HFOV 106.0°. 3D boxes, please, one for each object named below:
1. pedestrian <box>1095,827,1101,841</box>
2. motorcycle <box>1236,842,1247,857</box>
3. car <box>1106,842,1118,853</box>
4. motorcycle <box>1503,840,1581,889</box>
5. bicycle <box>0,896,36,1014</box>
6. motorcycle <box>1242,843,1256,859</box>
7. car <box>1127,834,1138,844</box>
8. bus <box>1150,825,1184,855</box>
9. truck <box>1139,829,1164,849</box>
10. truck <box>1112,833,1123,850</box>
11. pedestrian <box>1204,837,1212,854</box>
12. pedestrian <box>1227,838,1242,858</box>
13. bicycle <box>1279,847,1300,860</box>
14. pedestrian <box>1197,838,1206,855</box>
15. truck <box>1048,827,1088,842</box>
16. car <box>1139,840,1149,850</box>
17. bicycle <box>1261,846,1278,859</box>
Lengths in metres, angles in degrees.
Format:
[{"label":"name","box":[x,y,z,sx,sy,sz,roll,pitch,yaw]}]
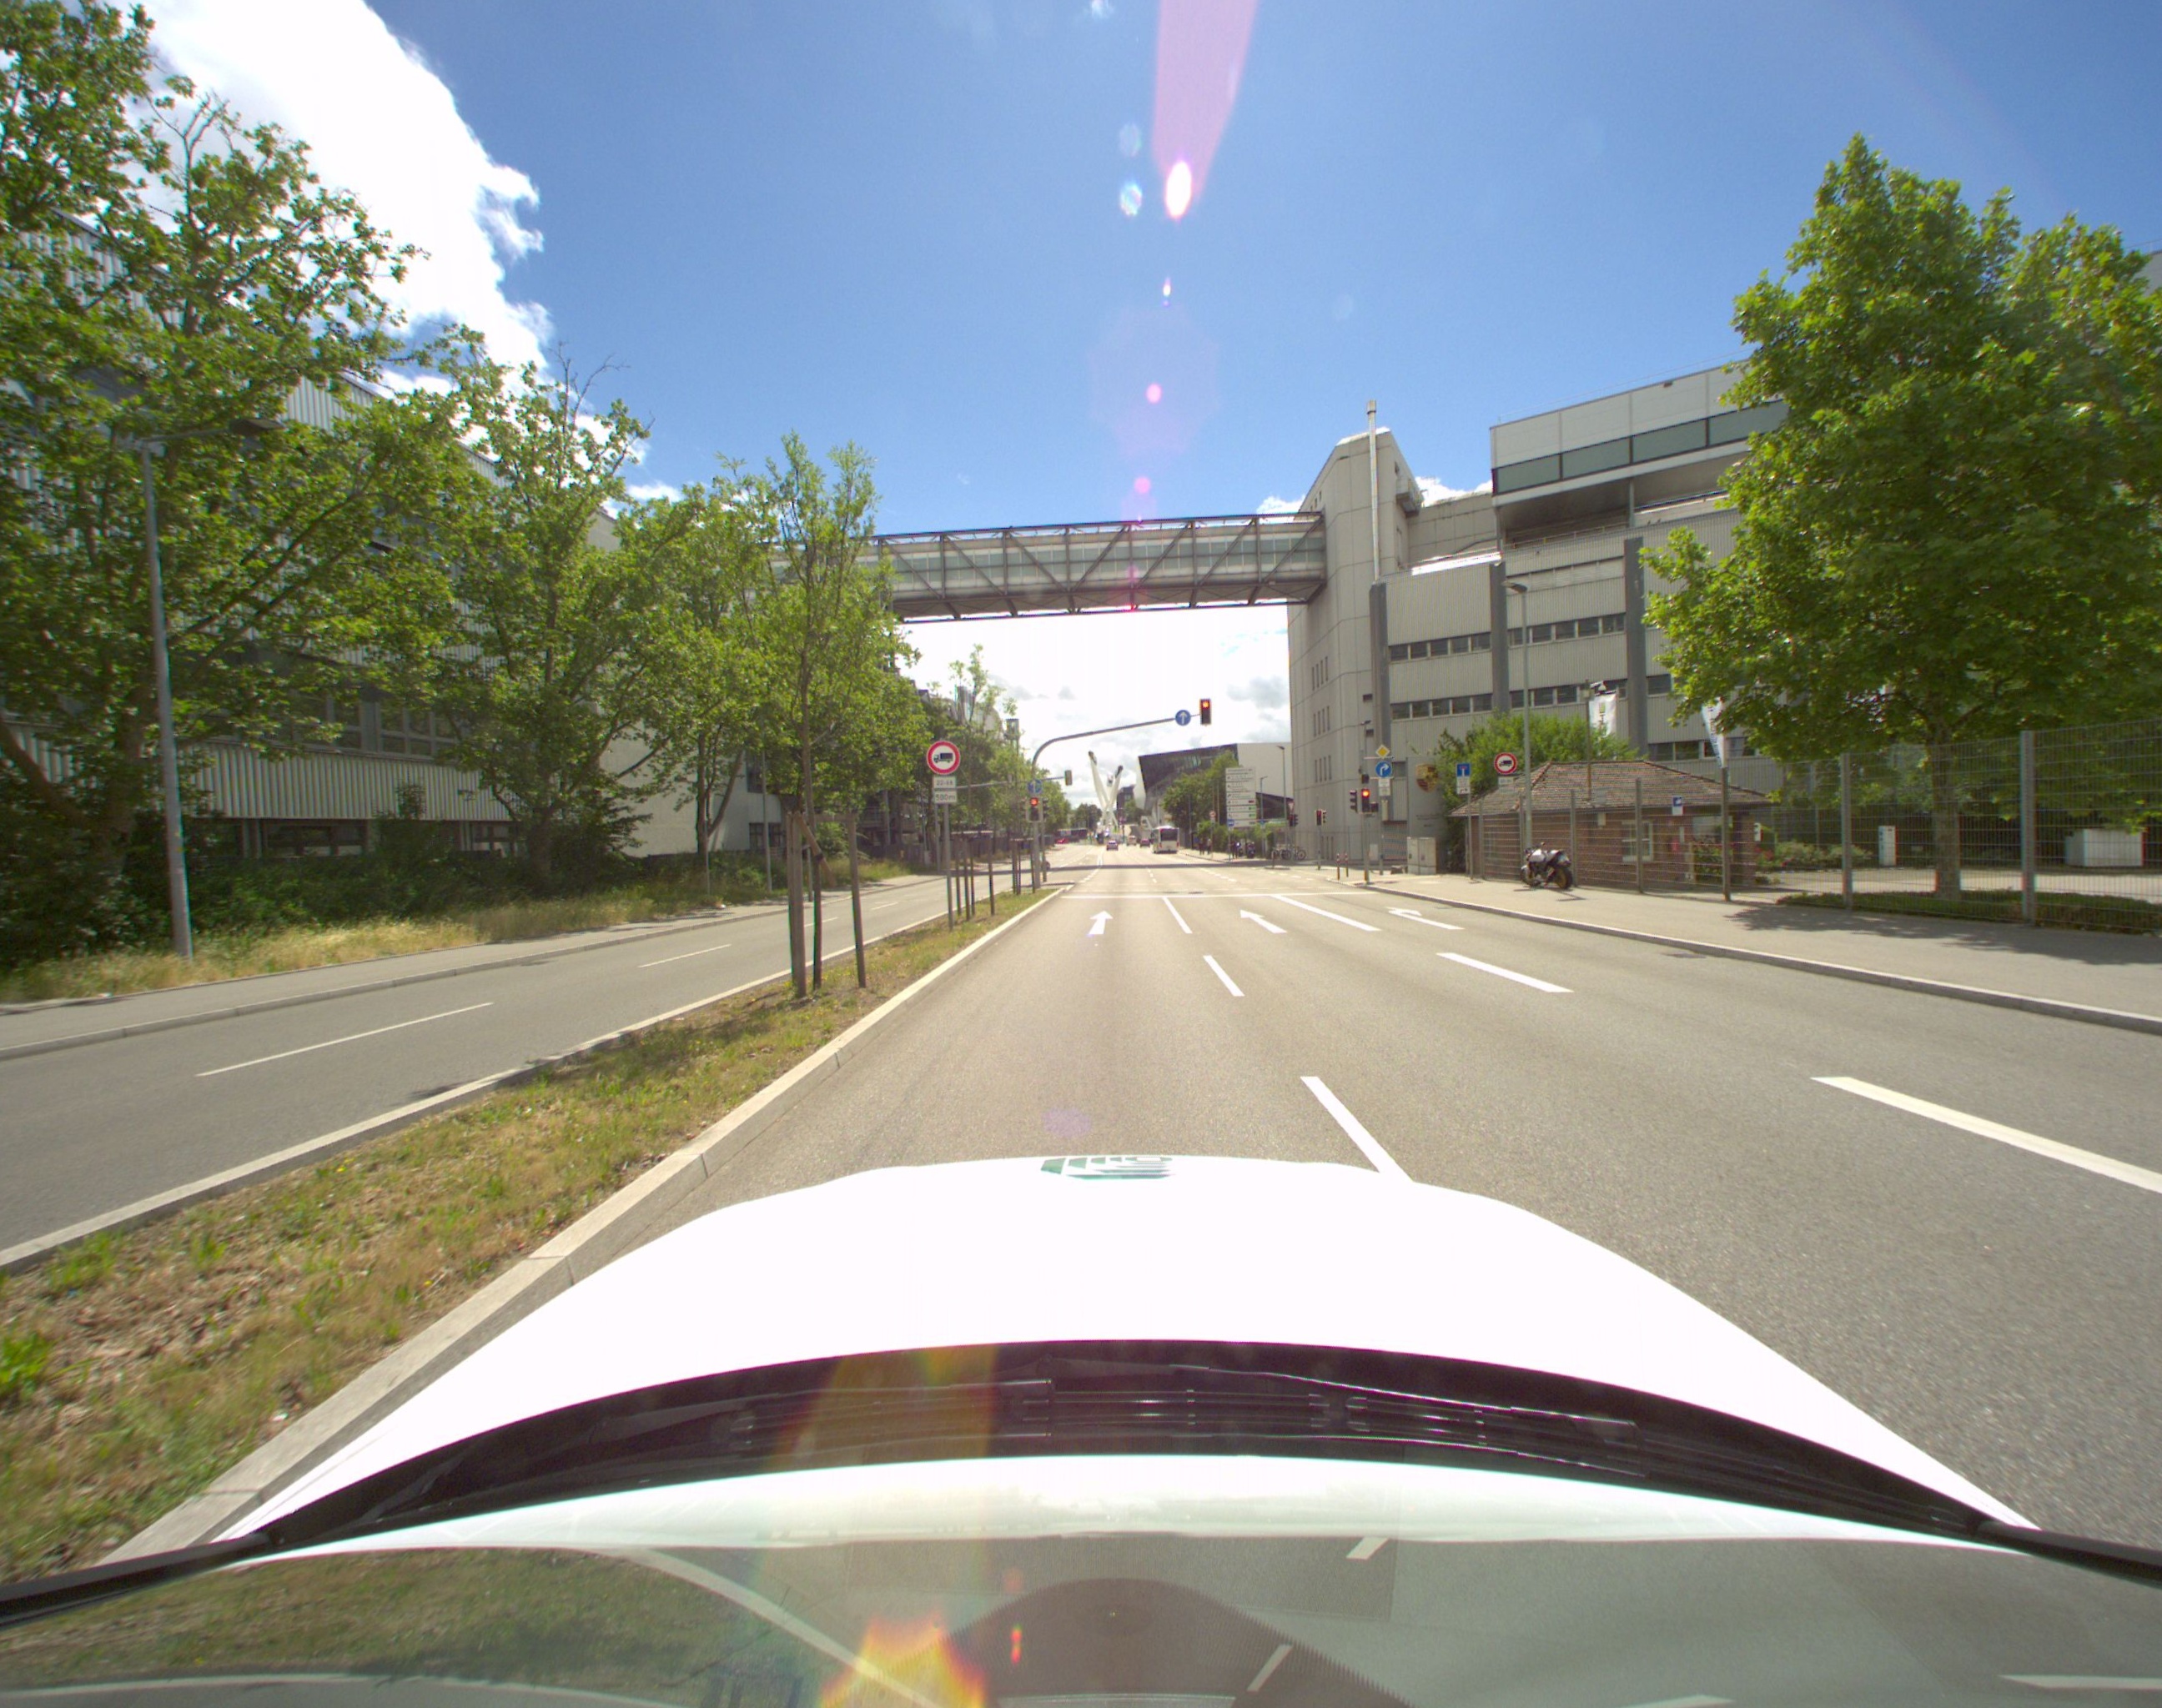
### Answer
[{"label":"pedestrian","box":[4.626,-5.376,221.368,1.410,3.600,1.284,-1,0,1]},{"label":"motorcycle","box":[14.300,-0.405,72.600,0.572,1.203,2.026,-3,1,3]},{"label":"car","box":[4.894,-1.026,127.495,1.731,1.741,3.694,-1,0,3]},{"label":"motorcycle","box":[11.811,0.236,20.938,0.691,1.158,2.146,-3,0,-2]},{"label":"bicycle","box":[-13.777,1.215,9.686,2.157,1.363,0.490,-1,0,3]},{"label":"motorcycle","box":[13.398,-0.258,64.918,0.703,1.203,2.026,-3,1,3]},{"label":"car","box":[10.891,-3.140,171.841,1.987,2.014,4.000,0,-1,0]},{"label":"bus","box":[10.851,-1.711,103.636,3.439,3.543,10.610,-1,1,2]},{"label":"truck","box":[16.606,-3.535,191.622,3.423,4.391,9.468,-1,0,20]},{"label":"truck","box":[8.441,-2.908,189.243,2.382,3.897,6.182,-1,0,3]},{"label":"pedestrian","box":[13.198,-0.897,84.722,0.633,1.741,0.822,-1,0,-3]},{"label":"pedestrian","box":[13.015,-0.509,68.876,0.839,1.624,0.962,-1,0,44]},{"label":"bicycle","box":[15.020,-0.051,58.698,0.399,0.937,1.914,-1,0,-23]},{"label":"pedestrian","box":[12.574,-0.807,85.200,0.817,1.707,0.882,-1,0,2]},{"label":"truck","box":[-3.942,-5.922,247.425,12.208,4.324,3.539,0,-1,-32]},{"label":"car","box":[11.361,-1.679,147.103,1.731,1.741,3.694,-1,0,3]},{"label":"bicycle","box":[14.116,-0.136,61.026,0.398,0.937,1.918,-1,0,-16]}]
